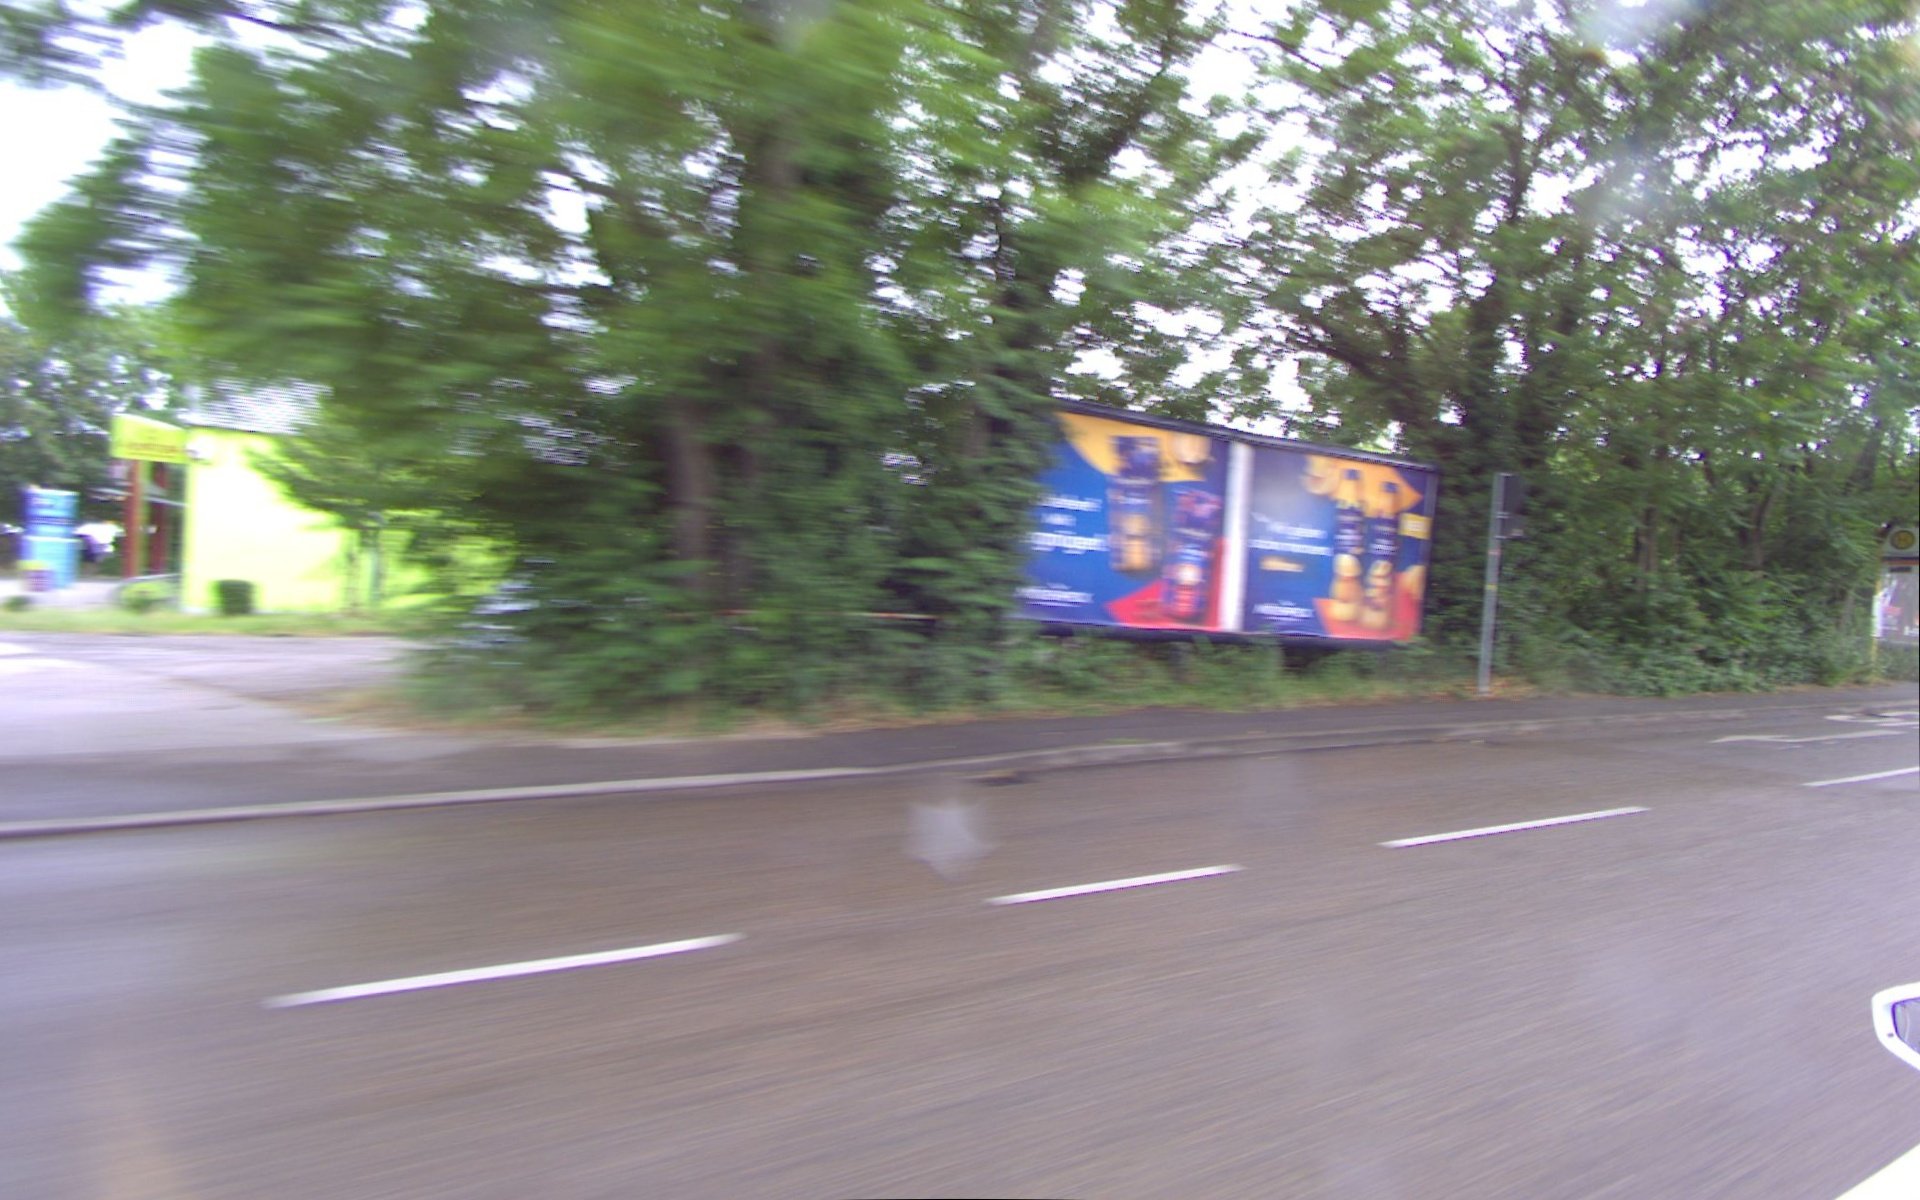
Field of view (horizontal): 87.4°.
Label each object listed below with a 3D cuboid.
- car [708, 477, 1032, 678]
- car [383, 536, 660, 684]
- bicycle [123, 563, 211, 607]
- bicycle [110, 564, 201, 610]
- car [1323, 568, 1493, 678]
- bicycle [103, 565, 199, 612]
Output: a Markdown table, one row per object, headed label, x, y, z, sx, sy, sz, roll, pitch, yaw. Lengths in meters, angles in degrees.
| label | x | y | z | sx | sy | sz | roll | pitch | yaw |
| --- | --- | --- | --- | --- | --- | --- | --- | --- | --- |
| car | -1.128 | -0.381 | 15.763 | 2.076 | 2.567 | 5.592 | 4 | 3 | 31 |
| car | -5.480 | 0.022 | 13.203 | 1.962 | 1.563 | 4.123 | 3 | 3 | -3 |
| bicycle | -19.572 | -0.360 | 24.825 | 1.596 | 0.995 | 0.530 | 3 | 0 | -30 |
| bicycle | -19.121 | -0.305 | 23.908 | 1.596 | 0.995 | 0.530 | 3 | 0 | -30 |
| car | 9.273 | 0.375 | 21.212 | 1.960 | 1.963 | 4.001 | 3 | 3 | 5 |
| bicycle | -18.420 | -0.252 | 22.899 | 1.596 | 0.995 | 0.530 | 3 | 0 | -30 |
